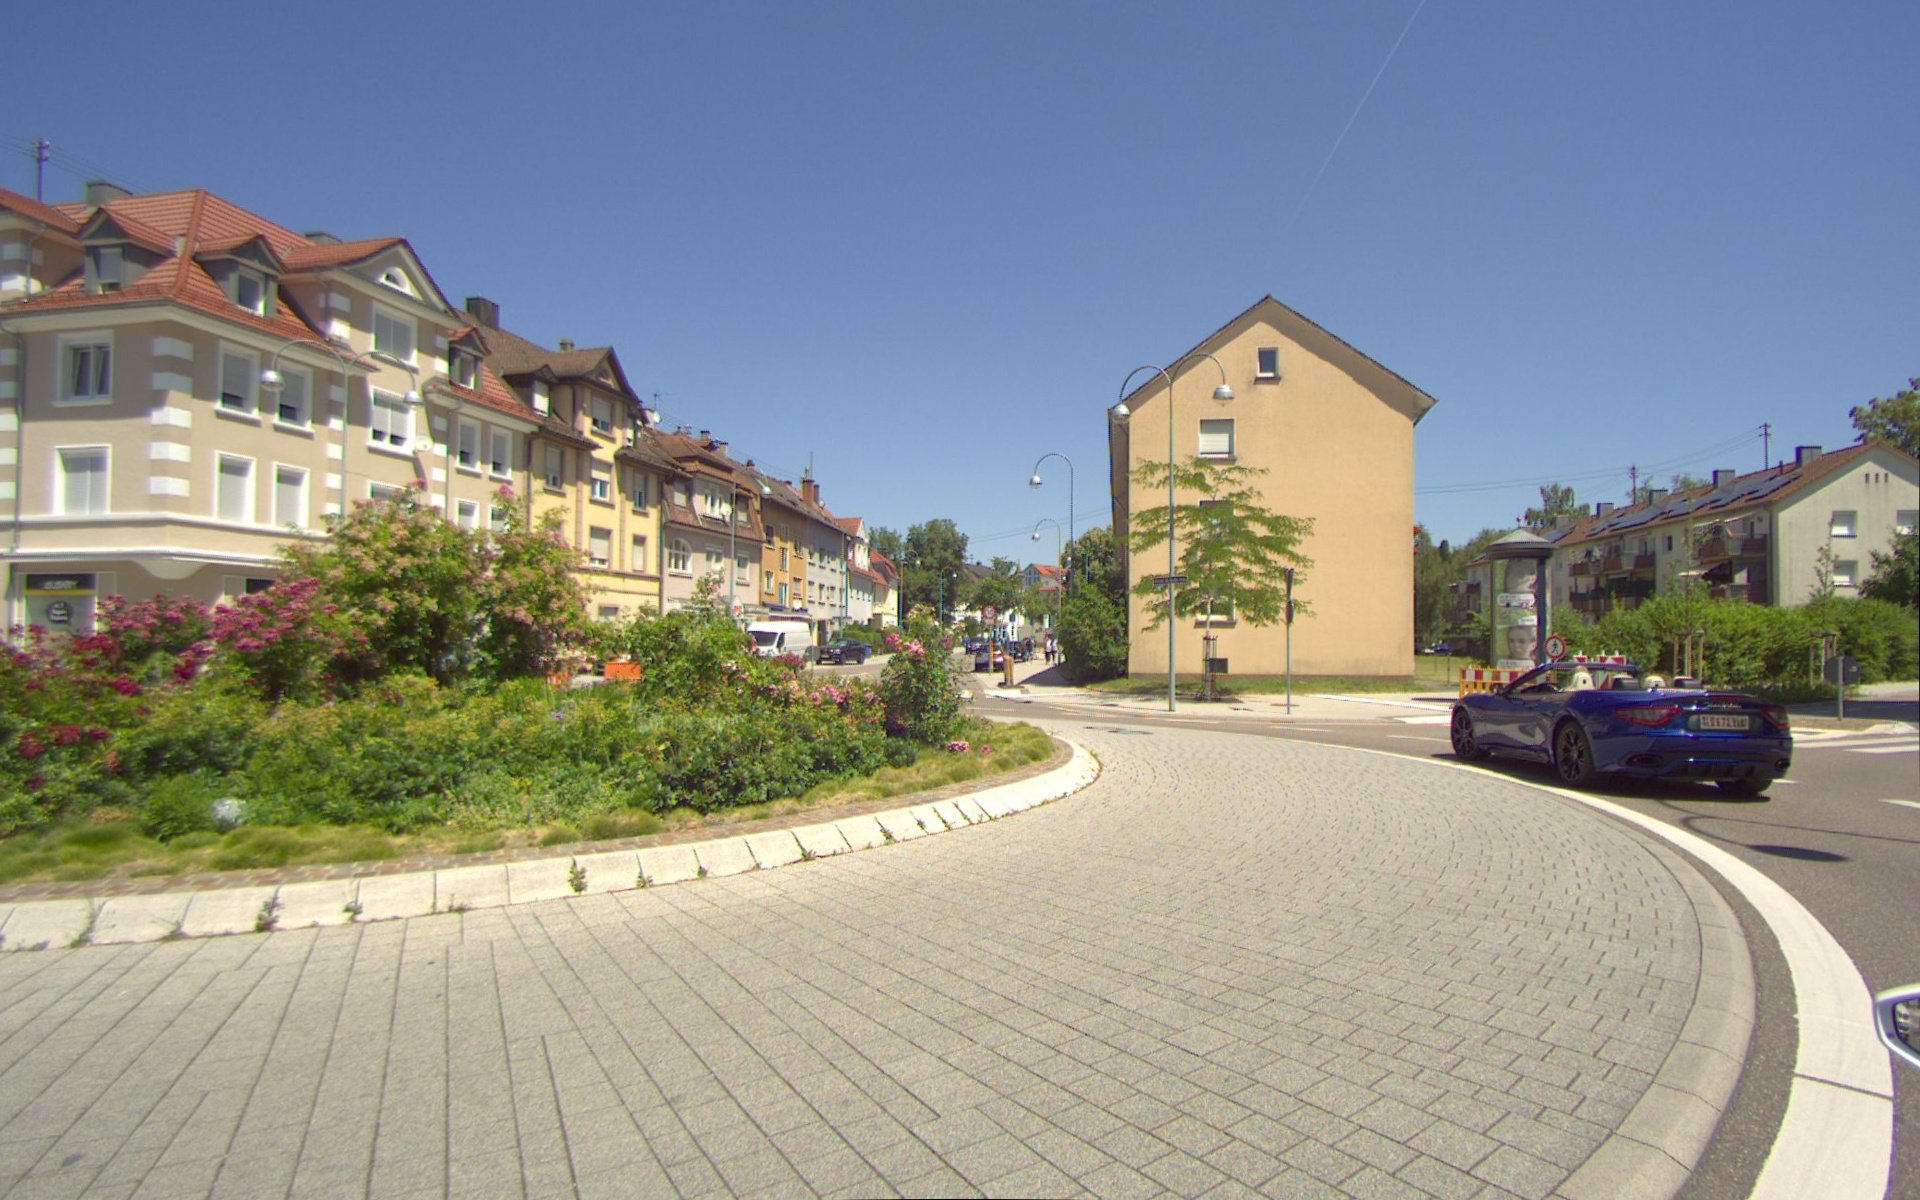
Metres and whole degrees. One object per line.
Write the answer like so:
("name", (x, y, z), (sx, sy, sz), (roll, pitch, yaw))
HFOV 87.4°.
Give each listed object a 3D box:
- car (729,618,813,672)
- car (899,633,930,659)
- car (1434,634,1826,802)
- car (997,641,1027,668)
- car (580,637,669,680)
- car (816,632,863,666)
("car", (-9.703, 2.323, 52.149), (2.108, 2.566, 6.243), (2, -2, 10))
("car", (-3.726, 3.824, 83.306), (2.032, 2.040, 4.003), (0, -3, 5))
("car", (7.441, 1.272, 11.843), (1.839, 1.549, 4.511), (1, -4, 4))
("car", (3.735, 3.835, 71.319), (1.781, 1.817, 4.003), (2, -2, 7))
("car", (-13.990, 2.427, 42.096), (1.571, 1.638, 4.095), (2, -2, 13))
("car", (-7.477, 3.036, 62.594), (2.032, 2.040, 4.003), (0, -3, 7))
